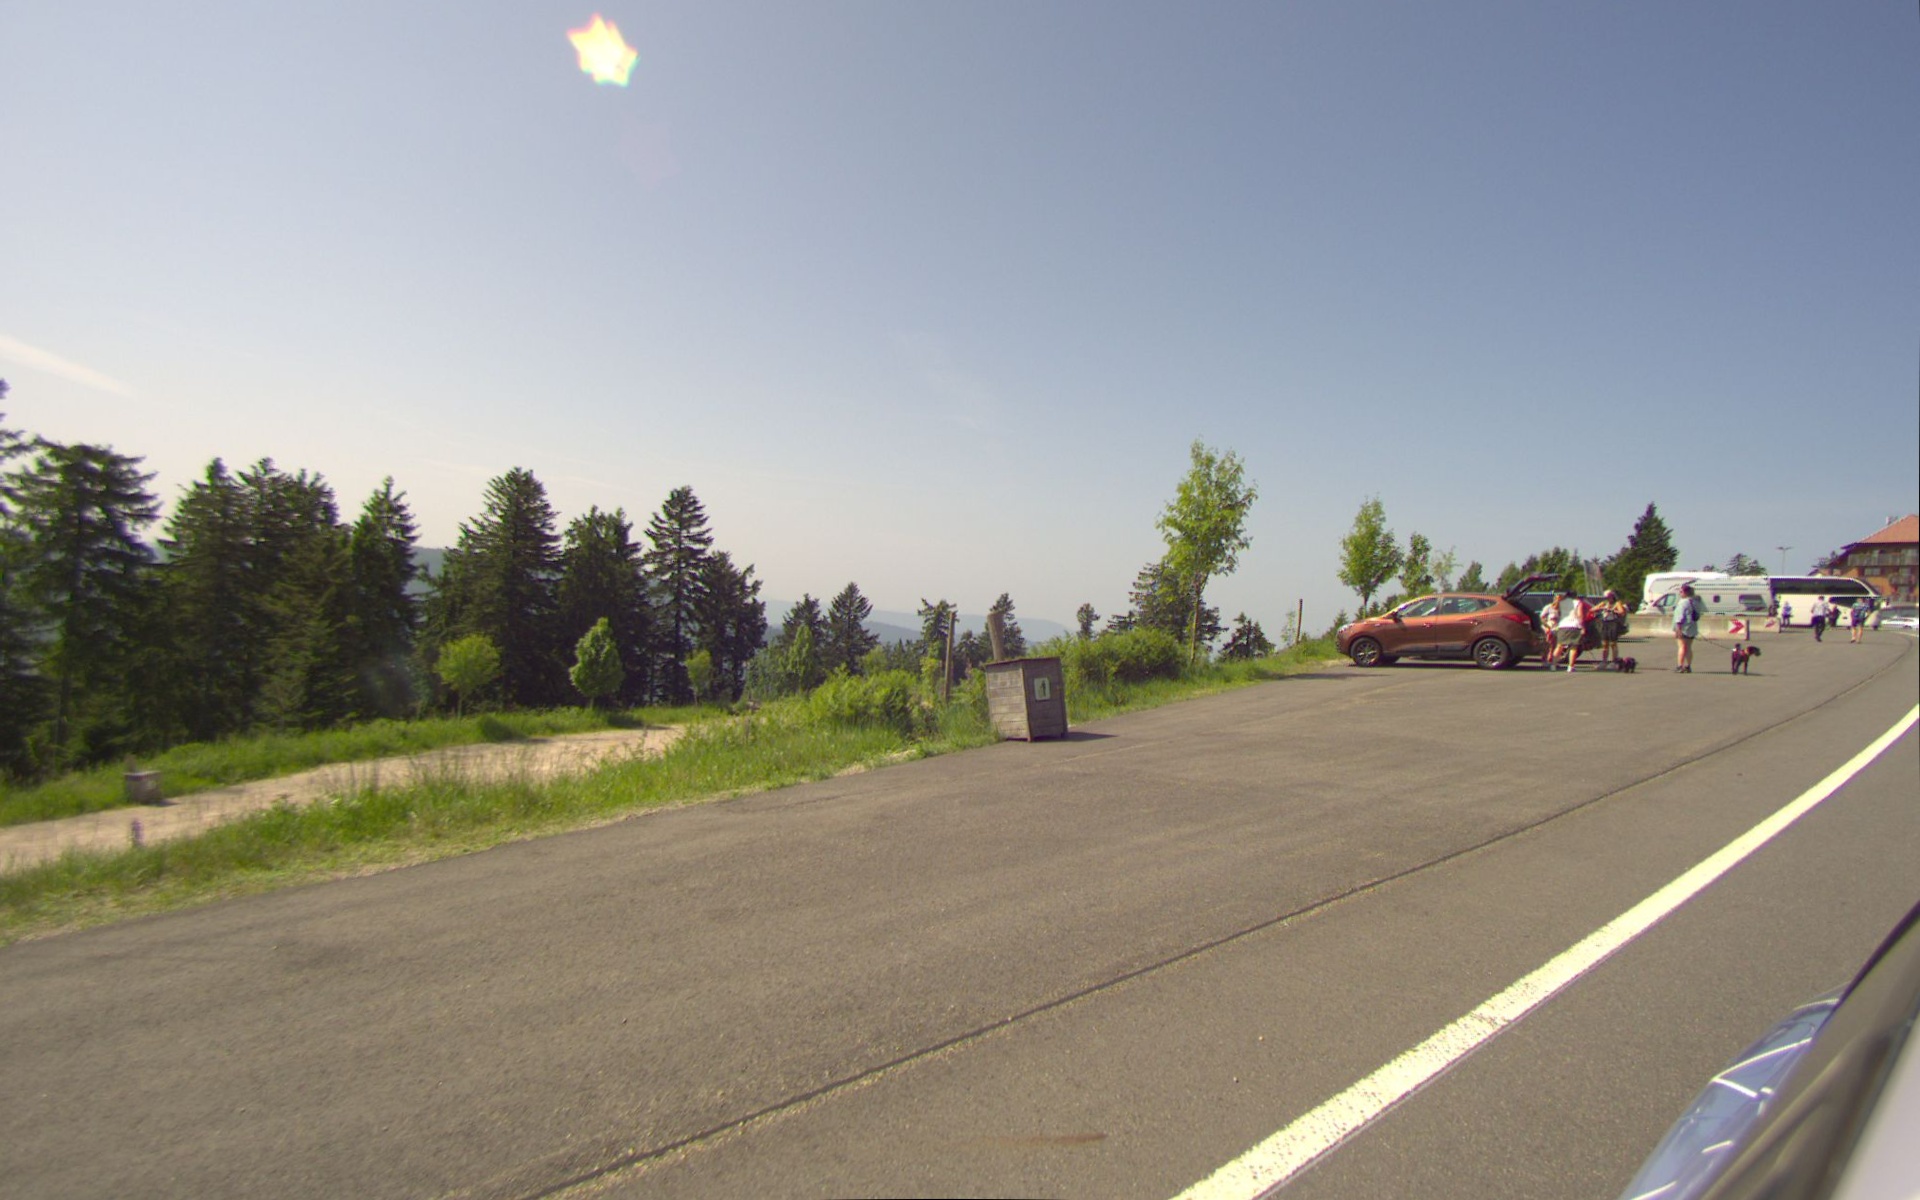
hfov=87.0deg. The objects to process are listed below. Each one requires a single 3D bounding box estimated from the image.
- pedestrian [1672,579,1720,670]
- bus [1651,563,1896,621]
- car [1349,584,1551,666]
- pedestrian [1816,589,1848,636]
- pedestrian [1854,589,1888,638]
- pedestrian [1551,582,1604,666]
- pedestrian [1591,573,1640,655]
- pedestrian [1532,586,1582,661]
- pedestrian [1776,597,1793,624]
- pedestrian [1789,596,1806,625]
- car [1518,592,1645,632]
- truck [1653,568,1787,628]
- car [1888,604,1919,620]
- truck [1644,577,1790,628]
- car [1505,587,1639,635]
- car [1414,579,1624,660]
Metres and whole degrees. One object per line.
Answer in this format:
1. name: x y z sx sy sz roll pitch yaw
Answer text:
1. pedestrian: 14.861 0.480 20.440 0.711 1.798 0.618 1 0 -40
2. bus: 55.264 -0.650 69.278 12.848 3.622 2.794 2 1 44
3. car: 10.918 0.537 22.652 3.809 1.682 1.630 -1 -1 39
4. pedestrian: 32.842 0.469 38.131 0.877 1.763 0.667 1 0 -34
5. pedestrian: 33.671 0.488 37.402 0.760 1.782 0.756 1 0 -34
6. pedestrian: 12.789 0.497 20.965 0.674 1.681 0.655 3 0 -34
7. pedestrian: 14.055 0.292 21.707 0.608 1.713 0.717 1 0 -40
8. pedestrian: 13.165 0.523 22.326 0.720 1.607 0.620 3 0 -28
9. pedestrian: 52.245 0.683 64.127 0.615 1.671 0.633 1 0 -24
10. pedestrian: 52.493 0.646 63.436 0.616 1.780 0.632 1 0 -34
11. car: 24.265 0.471 39.581 3.982 1.495 1.747 -1 -1 41
12. truck: 44.246 -0.184 58.986 6.058 3.236 2.495 2 1 41
13. car: 101.973 1.277 107.931 1.752 1.608 3.972 2 1 -21
14. truck: 42.136 0.106 56.460 6.260 2.623 2.303 2 1 43
15. car: 22.280 0.416 36.915 3.980 1.668 1.577 -1 -1 40
16. car: 13.675 0.421 24.884 4.260 1.816 1.864 1 0 41
